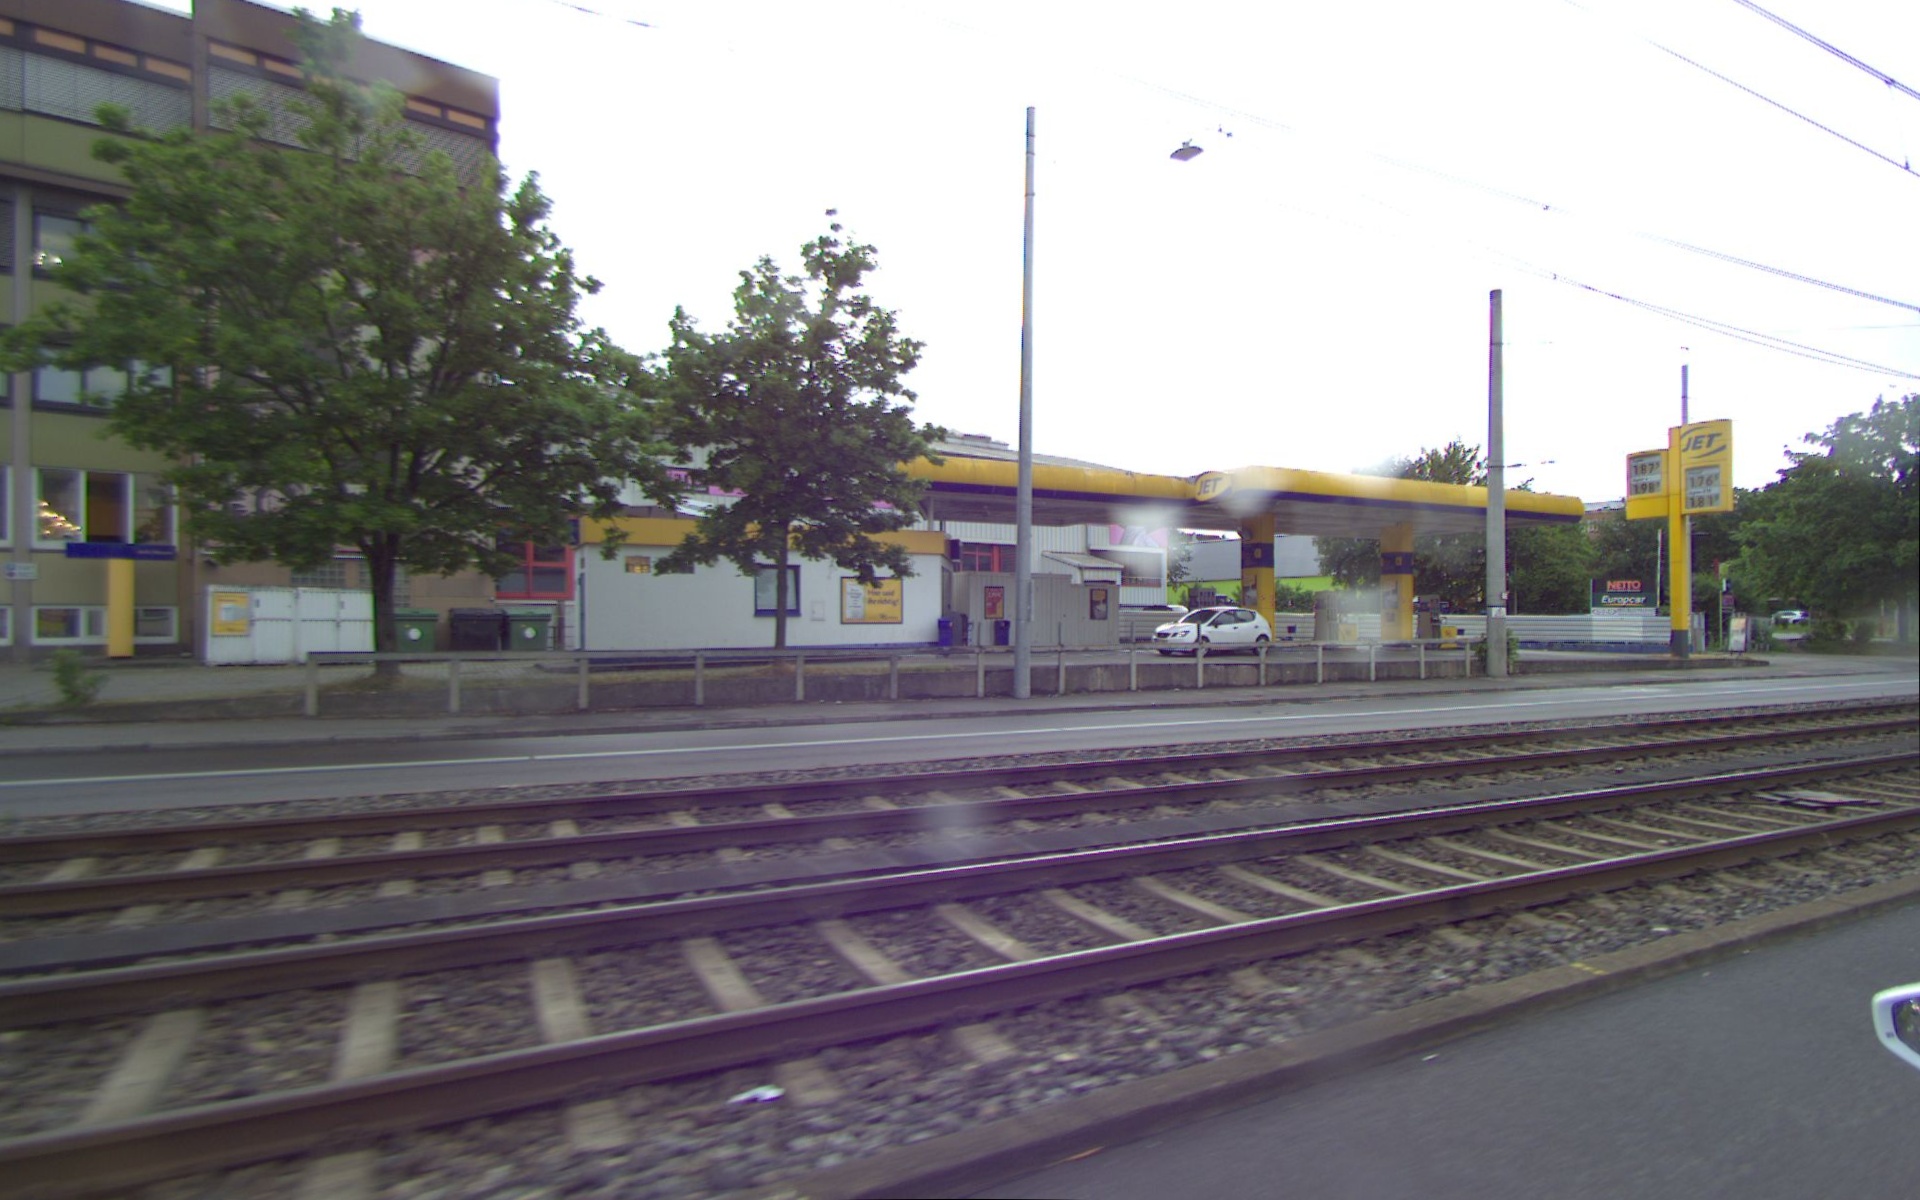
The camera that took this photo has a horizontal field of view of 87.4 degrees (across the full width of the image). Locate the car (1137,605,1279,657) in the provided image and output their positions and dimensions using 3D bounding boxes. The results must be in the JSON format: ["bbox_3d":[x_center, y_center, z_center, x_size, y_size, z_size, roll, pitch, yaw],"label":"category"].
[{"bbox_3d":[7.409,0.907,29.877,4.029,1.434,1.761,1,0,-31],"label":"car"}]

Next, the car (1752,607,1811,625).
[{"bbox_3d":[78.964,1.535,96.569,1.827,1.554,4.154,1,0,-39],"label":"car"}]

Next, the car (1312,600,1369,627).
[{"bbox_3d":[25.091,0.905,66.189,3.962,1.639,1.674,2,0,-37],"label":"car"}]
